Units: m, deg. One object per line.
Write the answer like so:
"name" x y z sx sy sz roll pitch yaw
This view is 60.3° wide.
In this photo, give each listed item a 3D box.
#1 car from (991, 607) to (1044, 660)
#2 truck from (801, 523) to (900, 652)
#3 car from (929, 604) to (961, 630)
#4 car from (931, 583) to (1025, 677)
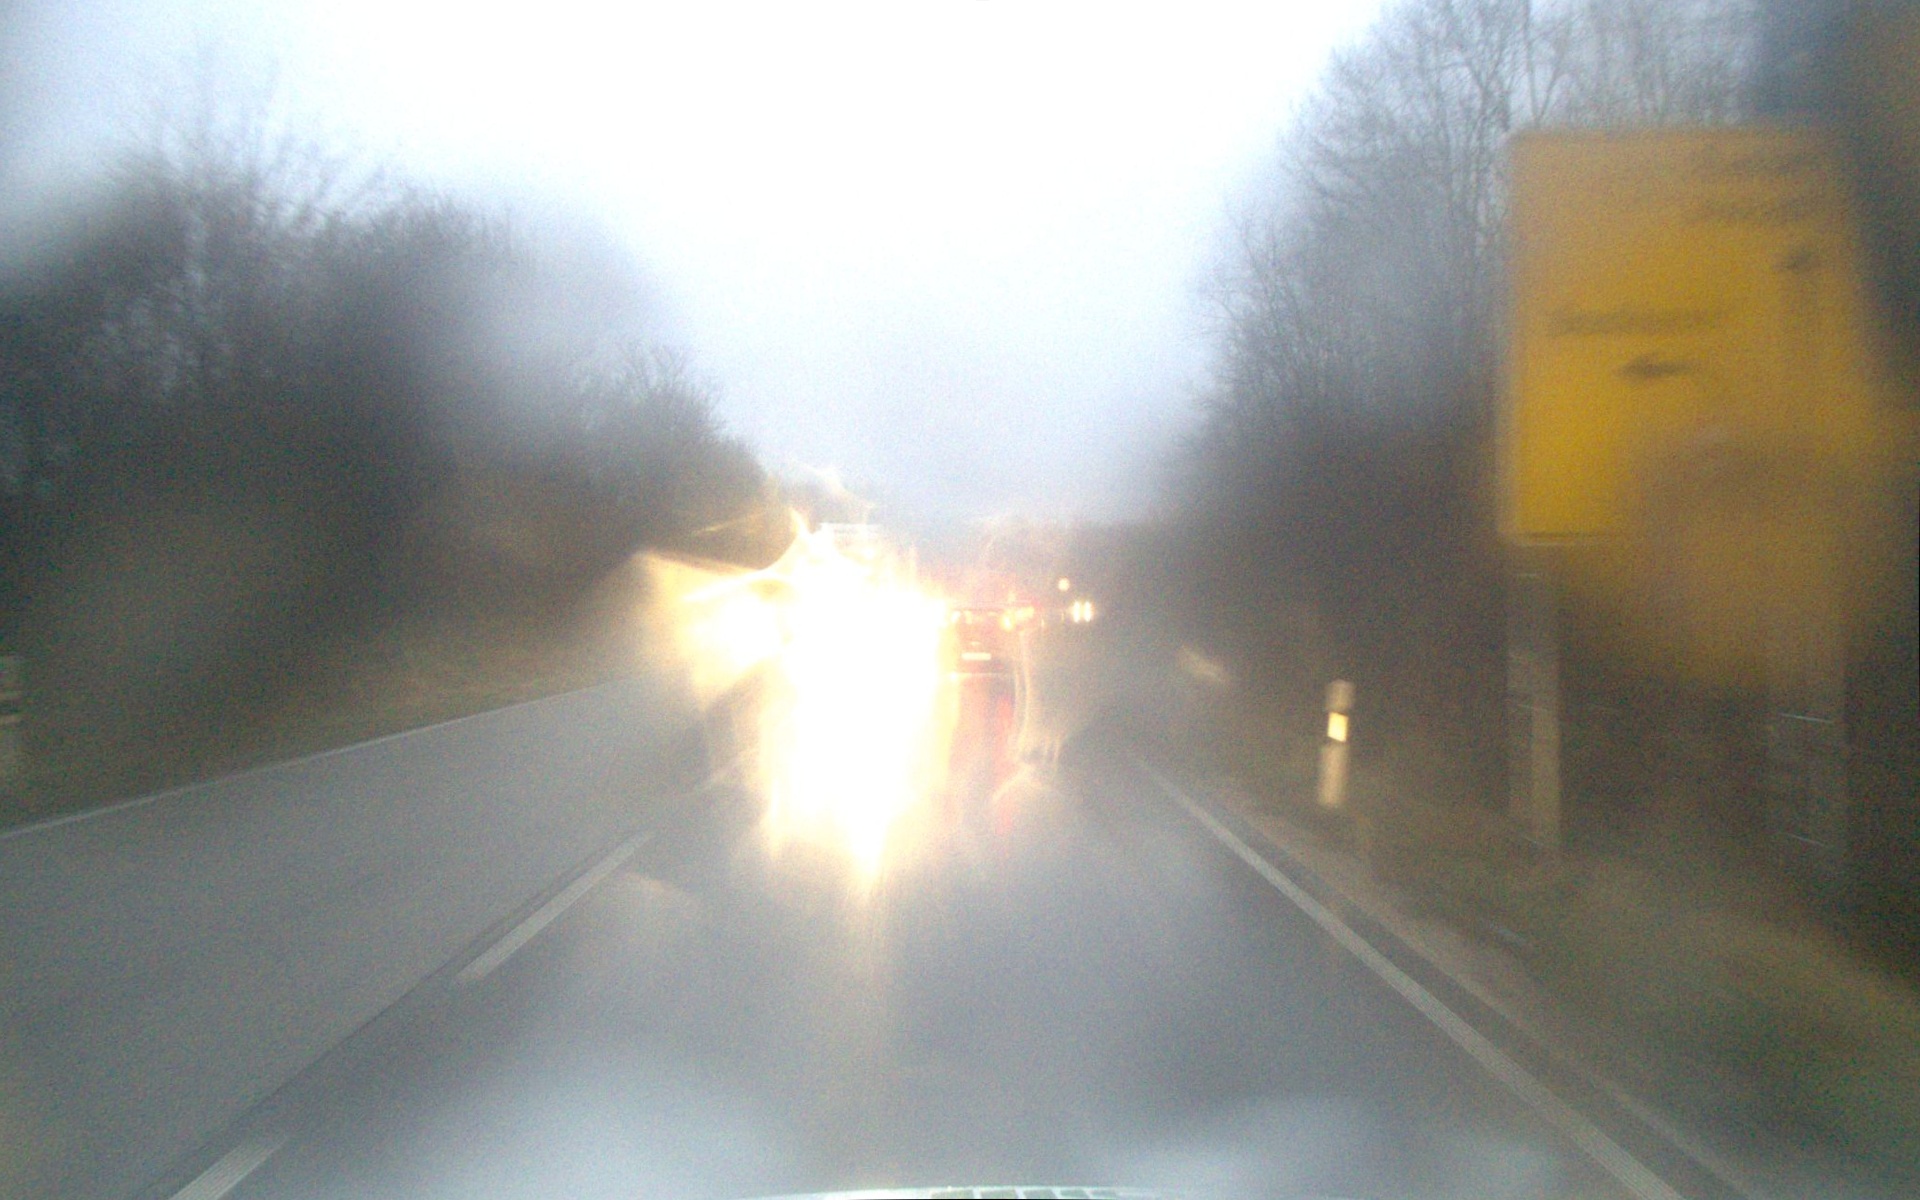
"car" 2.365 1.329 67.508 1.951 2.049 4.002 -1 0 5
"truck" -3.709 -0.424 57.559 2.741 4.199 7.201 -1 0 2
"car" -0.906 1.042 101.499 1.709 1.499 4.485 2 0 2
"car" 0.292 0.530 31.924 1.693 1.672 3.999 -1 0 -1
